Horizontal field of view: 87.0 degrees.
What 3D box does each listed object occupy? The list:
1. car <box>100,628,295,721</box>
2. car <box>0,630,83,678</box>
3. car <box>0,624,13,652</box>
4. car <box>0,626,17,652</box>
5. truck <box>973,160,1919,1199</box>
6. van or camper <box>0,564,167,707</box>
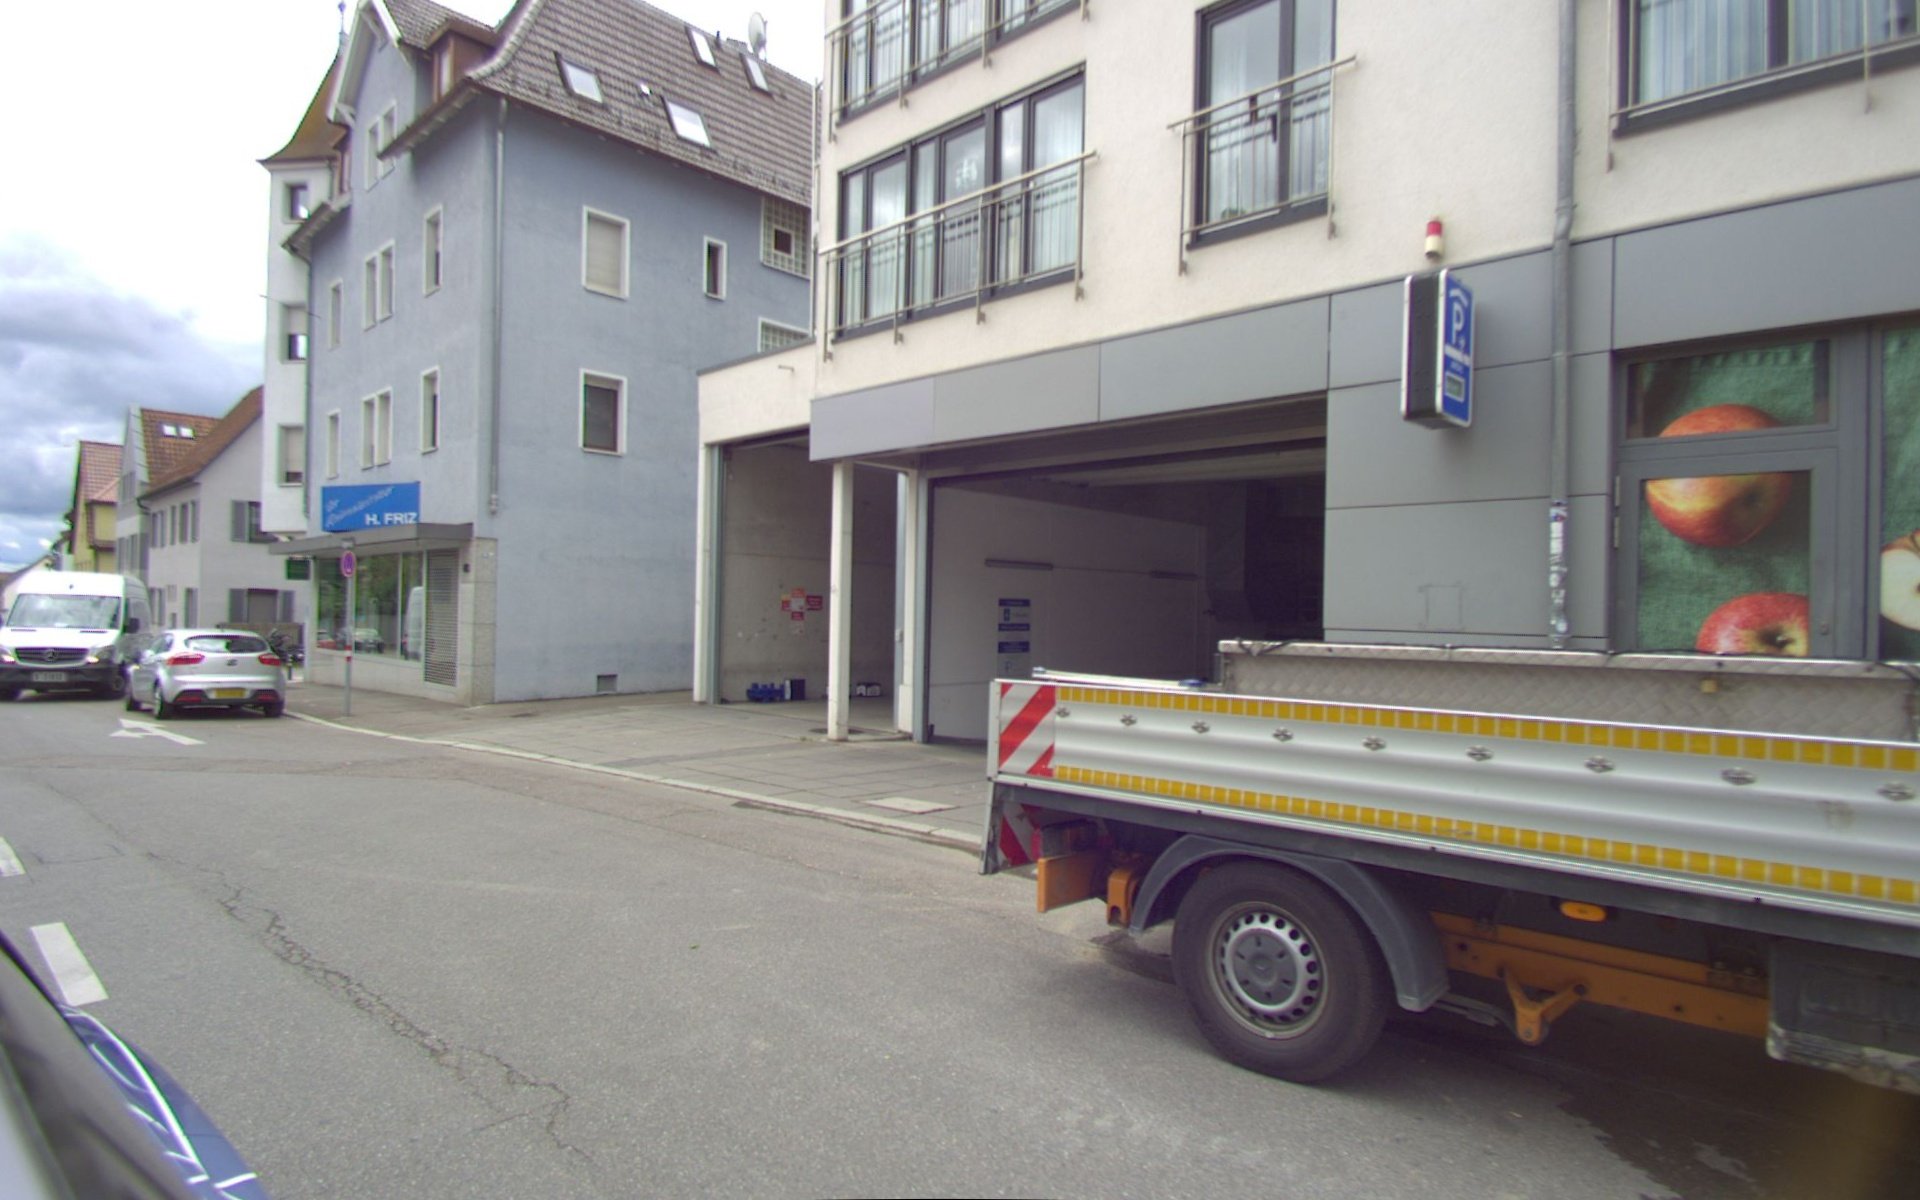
[{"bbox_3d":[-13.133,1.199,17.355,3.996,1.422,1.779,-1,-3,40],"label":"car"},{"bbox_3d":[-31.228,1.831,34.371,1.837,1.485,4.355,6,-5,-44],"label":"car"},{"bbox_3d":[-64.881,2.528,67.591,4.353,1.863,2.083,-2,-3,44],"label":"car"},{"bbox_3d":[-59.933,2.432,62.854,4.353,1.580,1.694,-2,-3,44],"label":"car"},{"bbox_3d":[3.174,0.291,2.884,6.307,2.485,2.387,-2,-3,43],"label":"truck"},{"bbox_3d":[-18.857,0.754,21.667,2.287,2.627,6.225,2,-2,-33],"label":"van or camper"}]
